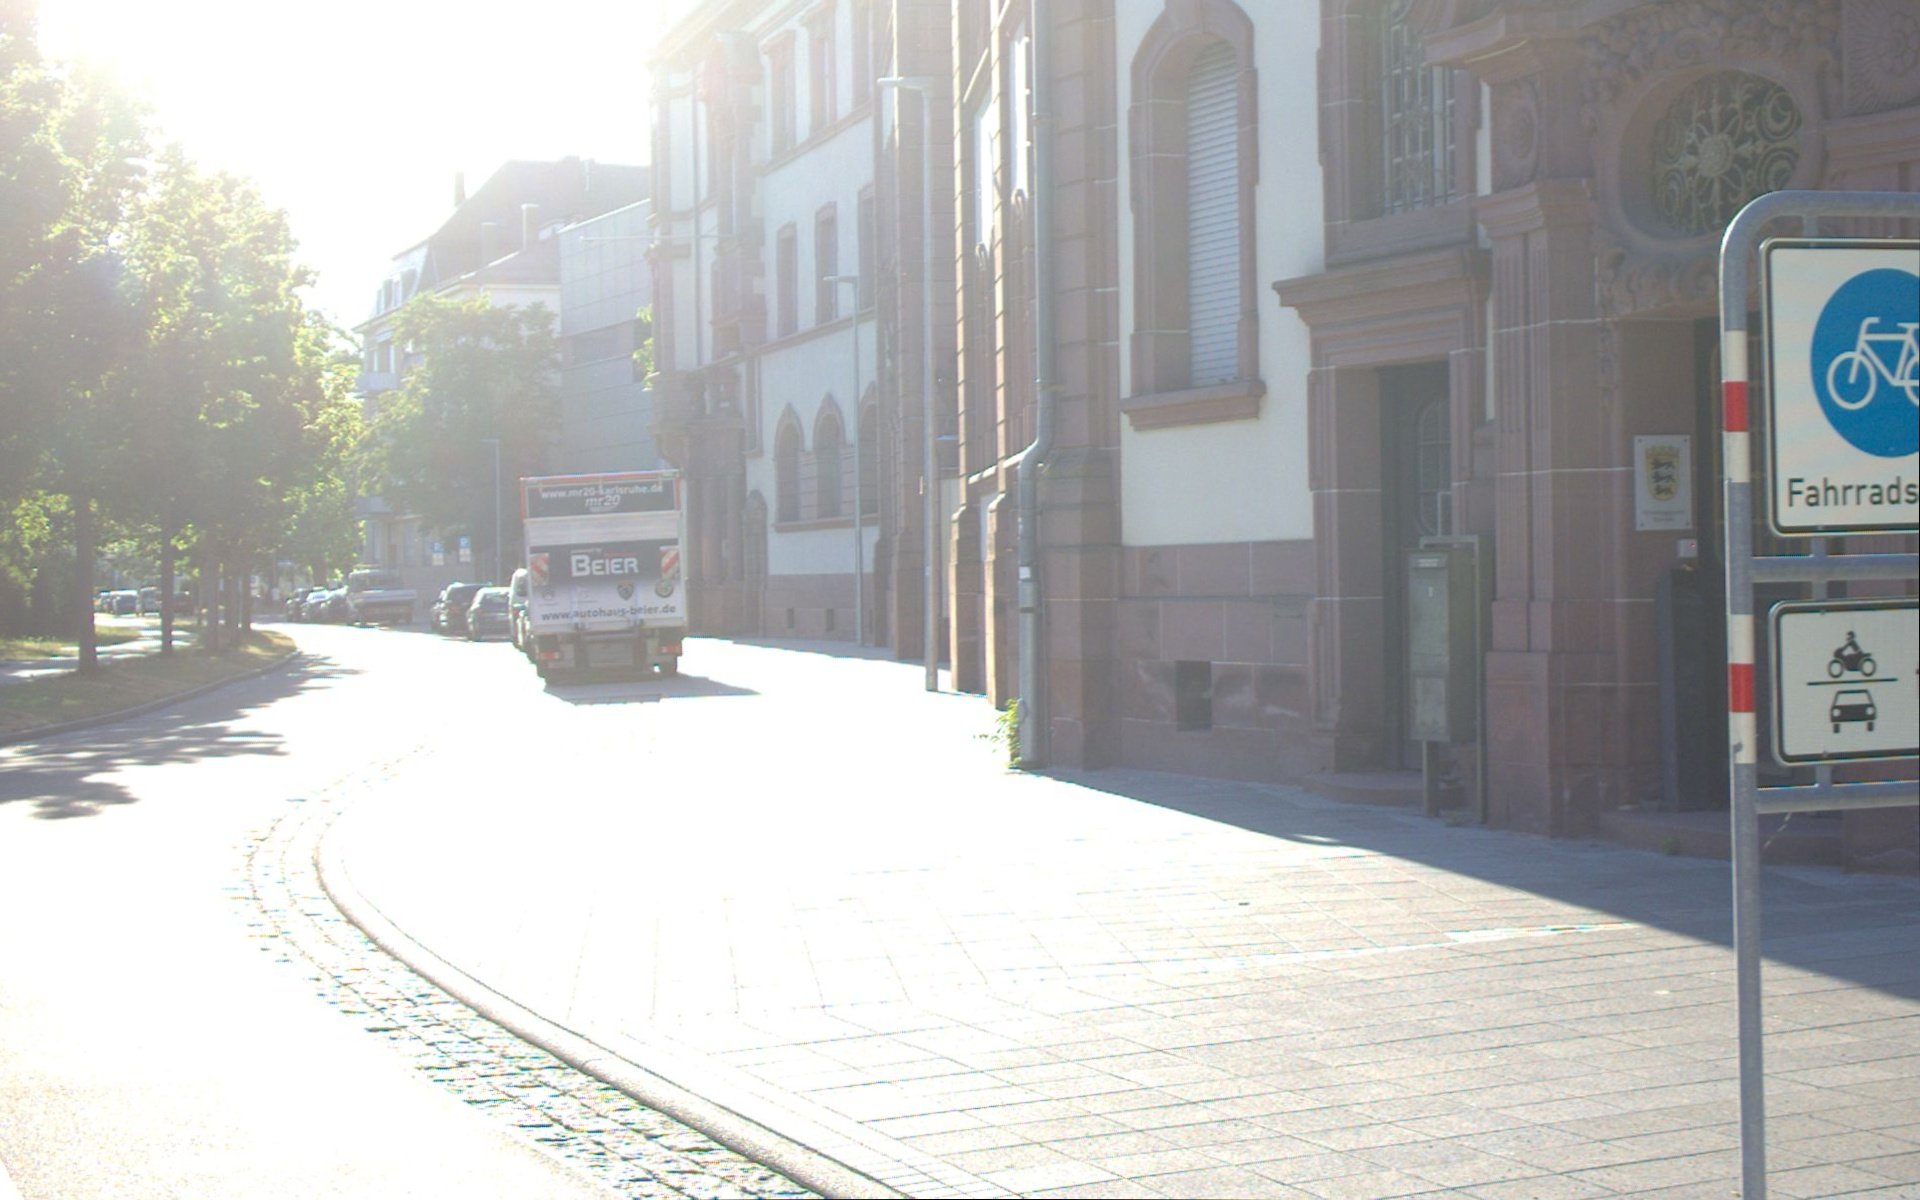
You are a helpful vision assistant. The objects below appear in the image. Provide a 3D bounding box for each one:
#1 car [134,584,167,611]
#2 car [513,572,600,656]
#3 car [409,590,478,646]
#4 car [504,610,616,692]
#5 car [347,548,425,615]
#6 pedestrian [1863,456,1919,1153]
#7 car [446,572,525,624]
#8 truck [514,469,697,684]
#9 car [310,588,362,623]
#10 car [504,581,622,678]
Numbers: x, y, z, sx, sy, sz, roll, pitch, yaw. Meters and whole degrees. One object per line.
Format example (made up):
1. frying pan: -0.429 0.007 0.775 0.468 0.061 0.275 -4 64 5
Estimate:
1. car: -52.599 -0.175 223.300 1.793 1.718 4.001 -1 1 -17
2. car: -10.473 0.355 88.995 1.993 1.959 4.850 -4 0 -8
3. car: -16.637 0.572 110.667 1.724 1.663 4.115 -2 1 -15
4. car: -7.902 0.979 67.667 1.871 1.431 4.523 -3 1 -10
5. car: -23.202 -0.754 138.834 2.211 2.521 6.149 -3 1 -17
6. pedestrian: 2.714 0.494 8.171 0.532 1.713 1.003 -4 2 -21
7. car: -13.886 -0.071 100.448 1.747 1.461 4.479 -1 1 -14
8. truck: -5.557 -0.376 53.175 2.623 3.110 6.089 -1 0 -7
9. car: -27.126 0.223 149.324 1.690 1.435 3.551 -2 1 -18
10. car: -6.874 0.480 59.210 1.768 1.525 4.573 -3 1 -9
